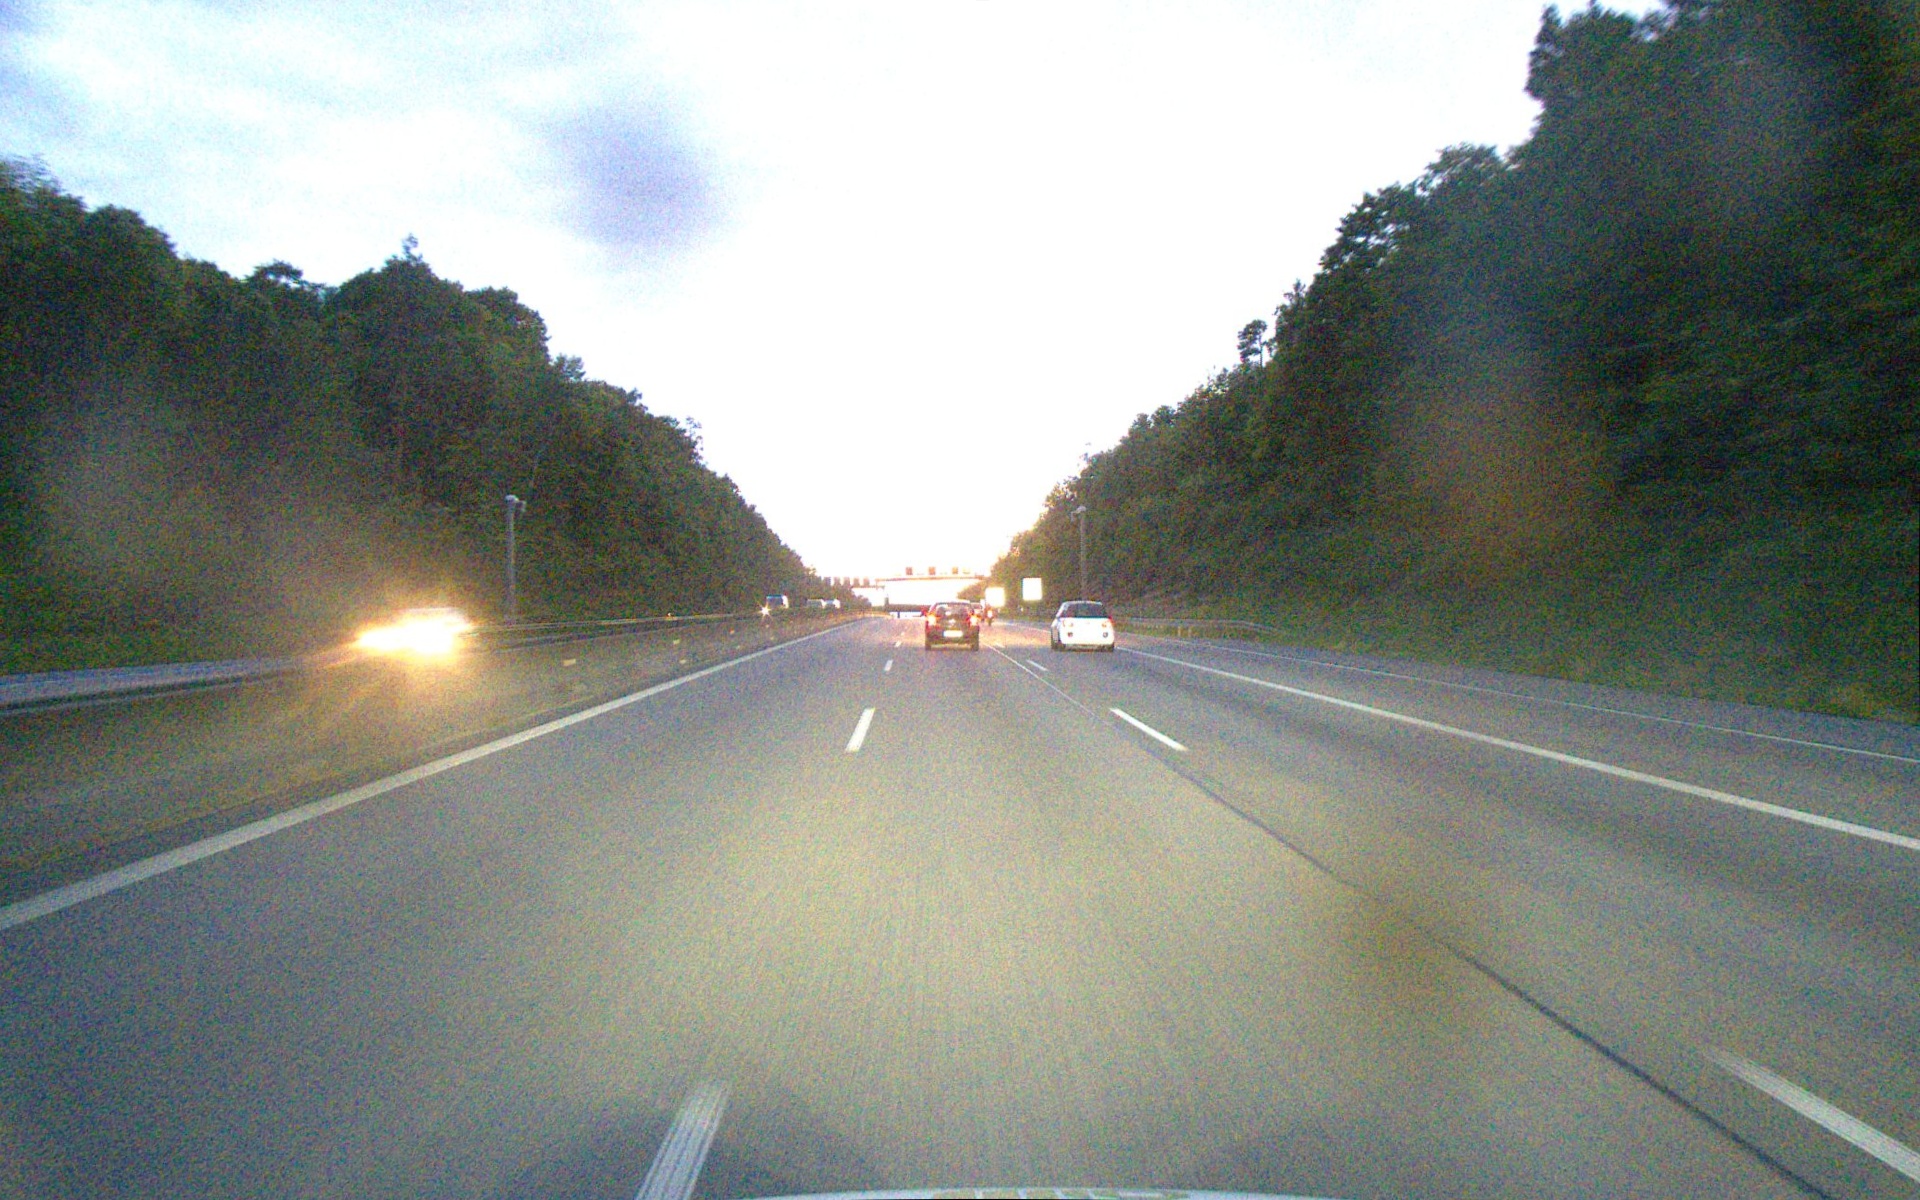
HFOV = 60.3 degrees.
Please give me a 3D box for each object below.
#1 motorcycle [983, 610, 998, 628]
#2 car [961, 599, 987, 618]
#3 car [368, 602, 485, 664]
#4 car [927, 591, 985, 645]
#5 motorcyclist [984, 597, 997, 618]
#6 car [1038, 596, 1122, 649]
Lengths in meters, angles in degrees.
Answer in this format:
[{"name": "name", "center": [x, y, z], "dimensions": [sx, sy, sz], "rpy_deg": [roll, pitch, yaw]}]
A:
[{"name": "motorcycle", "center": [1.952, 1.230, 105.505], "dimensions": [0.813, 1.154, 2.475], "rpy_deg": [0, -1, -2]}, {"name": "car", "center": [1.192, 0.780, 143.235], "dimensions": [1.829, 1.520, 4.393], "rpy_deg": [2, -2, -6]}, {"name": "car", "center": [-14.622, 0.865, 45.571], "dimensions": [1.843, 1.602, 4.652], "rpy_deg": [0, 0, -2]}, {"name": "car", "center": [-0.157, 0.569, 49.886], "dimensions": [1.669, 1.536, 4.230], "rpy_deg": [1, -2, -1]}, {"name": "motorcyclist", "center": [1.951, 0.498, 105.451], "dimensions": [0.813, 1.314, 1.189], "rpy_deg": [0, -1, -2]}, {"name": "car", "center": [3.592, 0.703, 50.162], "dimensions": [1.790, 1.502, 4.393], "rpy_deg": [2, -2, -6]}]
